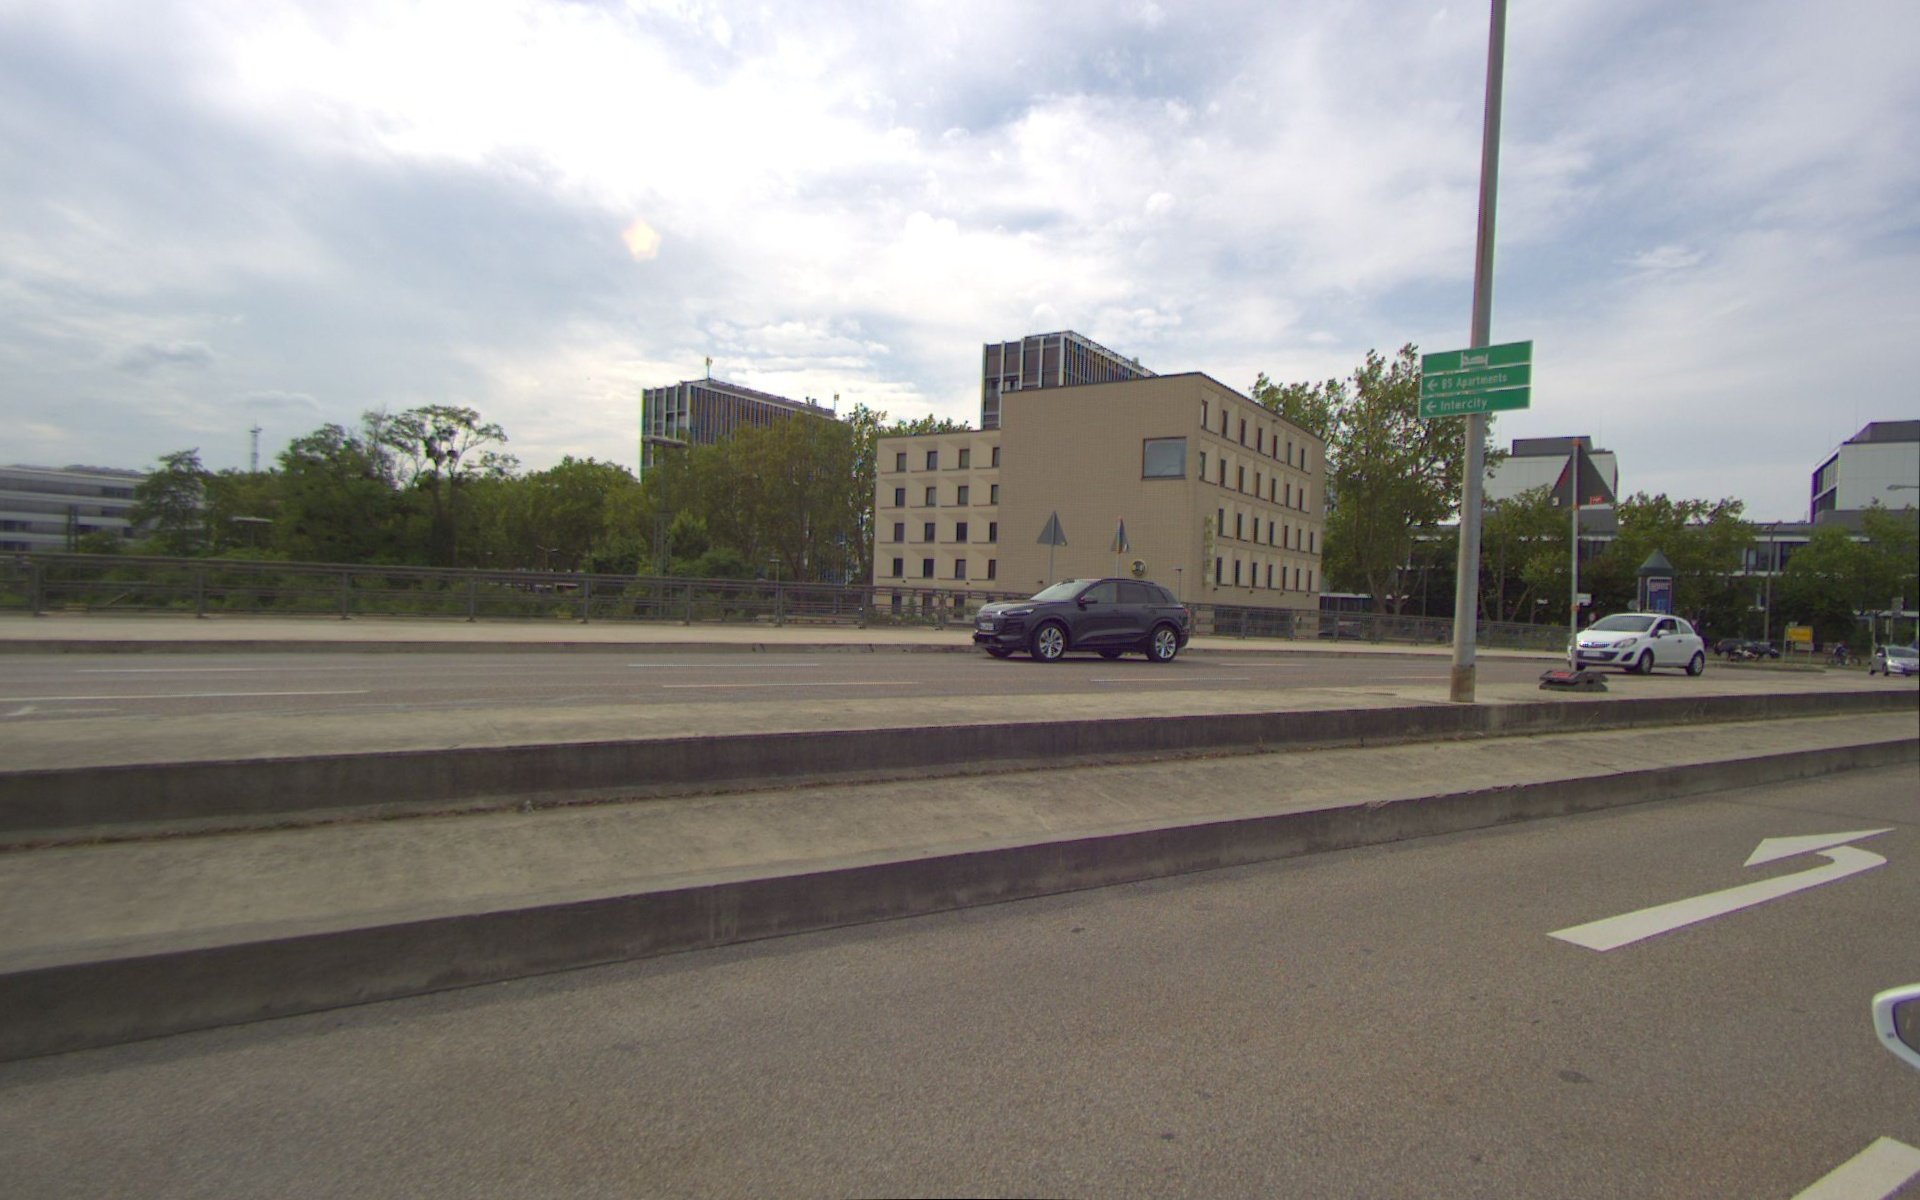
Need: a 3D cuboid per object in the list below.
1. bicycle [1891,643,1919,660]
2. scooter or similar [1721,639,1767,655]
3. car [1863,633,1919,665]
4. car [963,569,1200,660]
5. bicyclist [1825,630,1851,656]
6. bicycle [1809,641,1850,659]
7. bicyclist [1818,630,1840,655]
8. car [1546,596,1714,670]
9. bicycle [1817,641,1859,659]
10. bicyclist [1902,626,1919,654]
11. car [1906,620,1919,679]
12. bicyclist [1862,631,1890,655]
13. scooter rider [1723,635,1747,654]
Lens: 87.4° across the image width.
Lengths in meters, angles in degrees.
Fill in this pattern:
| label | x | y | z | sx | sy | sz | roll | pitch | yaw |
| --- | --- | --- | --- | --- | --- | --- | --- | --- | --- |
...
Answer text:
| label | x | y | z | sx | sy | sz | roll | pitch | yaw |
| --- | --- | --- | --- | --- | --- | --- | --- | --- | --- |
| bicycle | 58.938 | 3.218 | 61.951 | 2.191 | 0.965 | 0.812 | 2 | 0 | 2 |
| scooter or similar | 51.118 | 3.069 | 65.490 | 2.339 | 0.861 | 0.809 | 2 | 1 | 2 |
| car | 48.410 | 2.507 | 51.918 | 1.893 | 1.547 | 4.867 | 1 | -1 | 34 |
| car | 2.480 | 0.315 | 20.301 | 4.491 | 1.662 | 1.878 | 2 | 1 | -29 |
| bicyclist | 55.855 | 2.742 | 63.918 | 0.999 | 1.560 | 0.629 | 2 | 1 | 16 |
| bicycle | 56.056 | 3.203 | 64.751 | 1.869 | 1.027 | 0.629 | 2 | 1 | 14 |
| bicyclist | 56.030 | 2.710 | 64.755 | 0.824 | 1.550 | 0.629 | 2 | 1 | 14 |
| car | 16.633 | 0.818 | 24.907 | 4.171 | 1.662 | 1.877 | 2 | 1 | -32 |
| bicycle | 55.863 | 3.201 | 63.923 | 1.869 | 1.027 | 0.629 | 2 | 1 | 16 |
| bicyclist | 58.966 | 2.486 | 61.957 | 0.866 | 1.678 | 0.812 | 2 | 0 | 2 |
| car | 29.509 | 1.490 | 29.080 | 4.532 | 1.662 | 1.877 | 2 | 1 | -31 |
| bicyclist | 58.522 | 2.760 | 64.180 | 1.094 | 1.456 | 0.648 | 2 | 1 | 7 |
| scooter rider | 50.553 | 2.895 | 65.511 | 0.898 | 1.152 | 0.809 | 2 | 1 | 2 |
